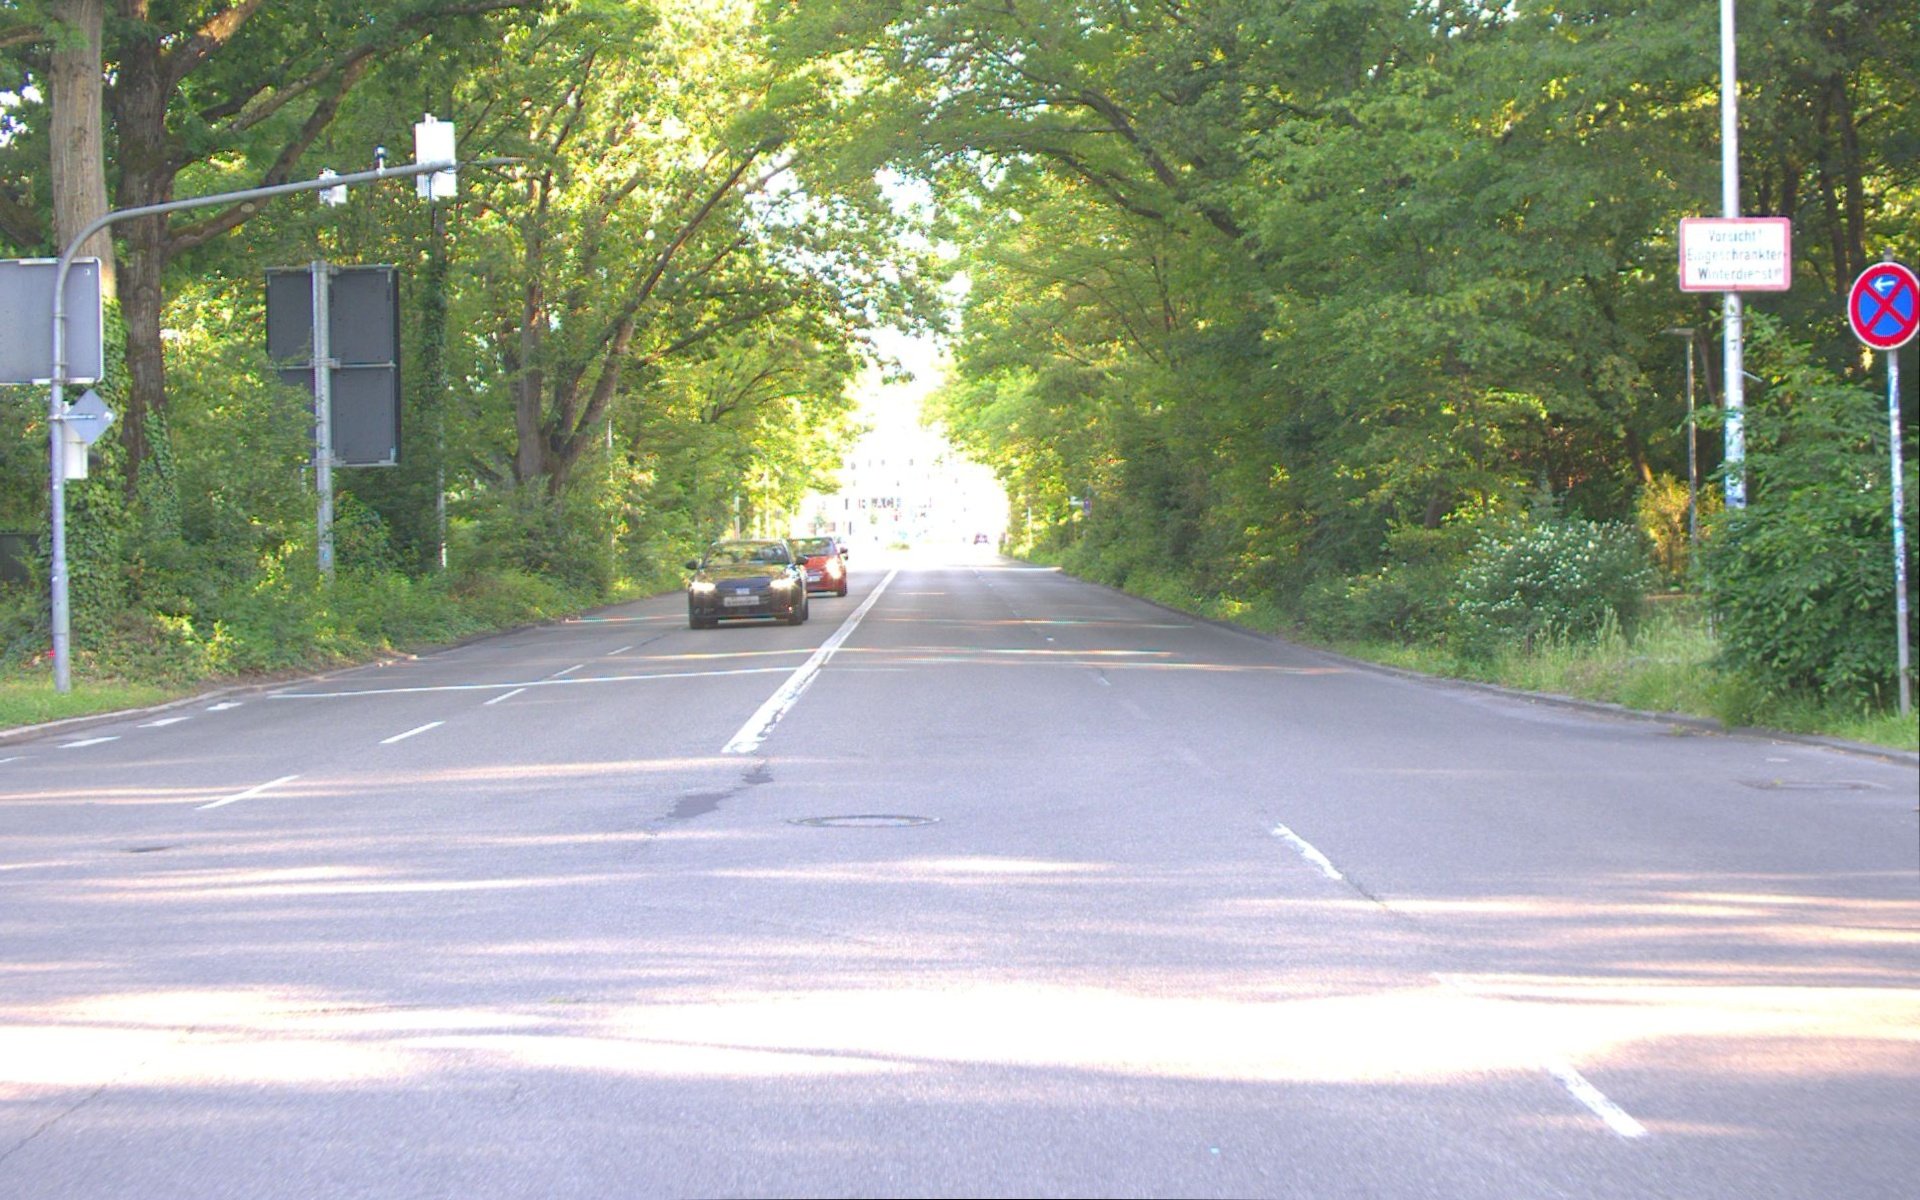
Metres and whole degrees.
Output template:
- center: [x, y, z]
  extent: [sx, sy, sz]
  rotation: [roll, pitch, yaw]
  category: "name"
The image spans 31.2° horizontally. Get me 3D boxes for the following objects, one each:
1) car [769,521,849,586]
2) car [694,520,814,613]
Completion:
- center: [-3.649, -1.135, 83.629]
  extent: [1.797, 1.501, 4.365]
  rotation: [-2, 1, -1]
  category: "car"
- center: [-3.523, -0.596, 59.456]
  extent: [1.887, 1.501, 4.365]
  rotation: [-2, 1, -1]
  category: "car"
